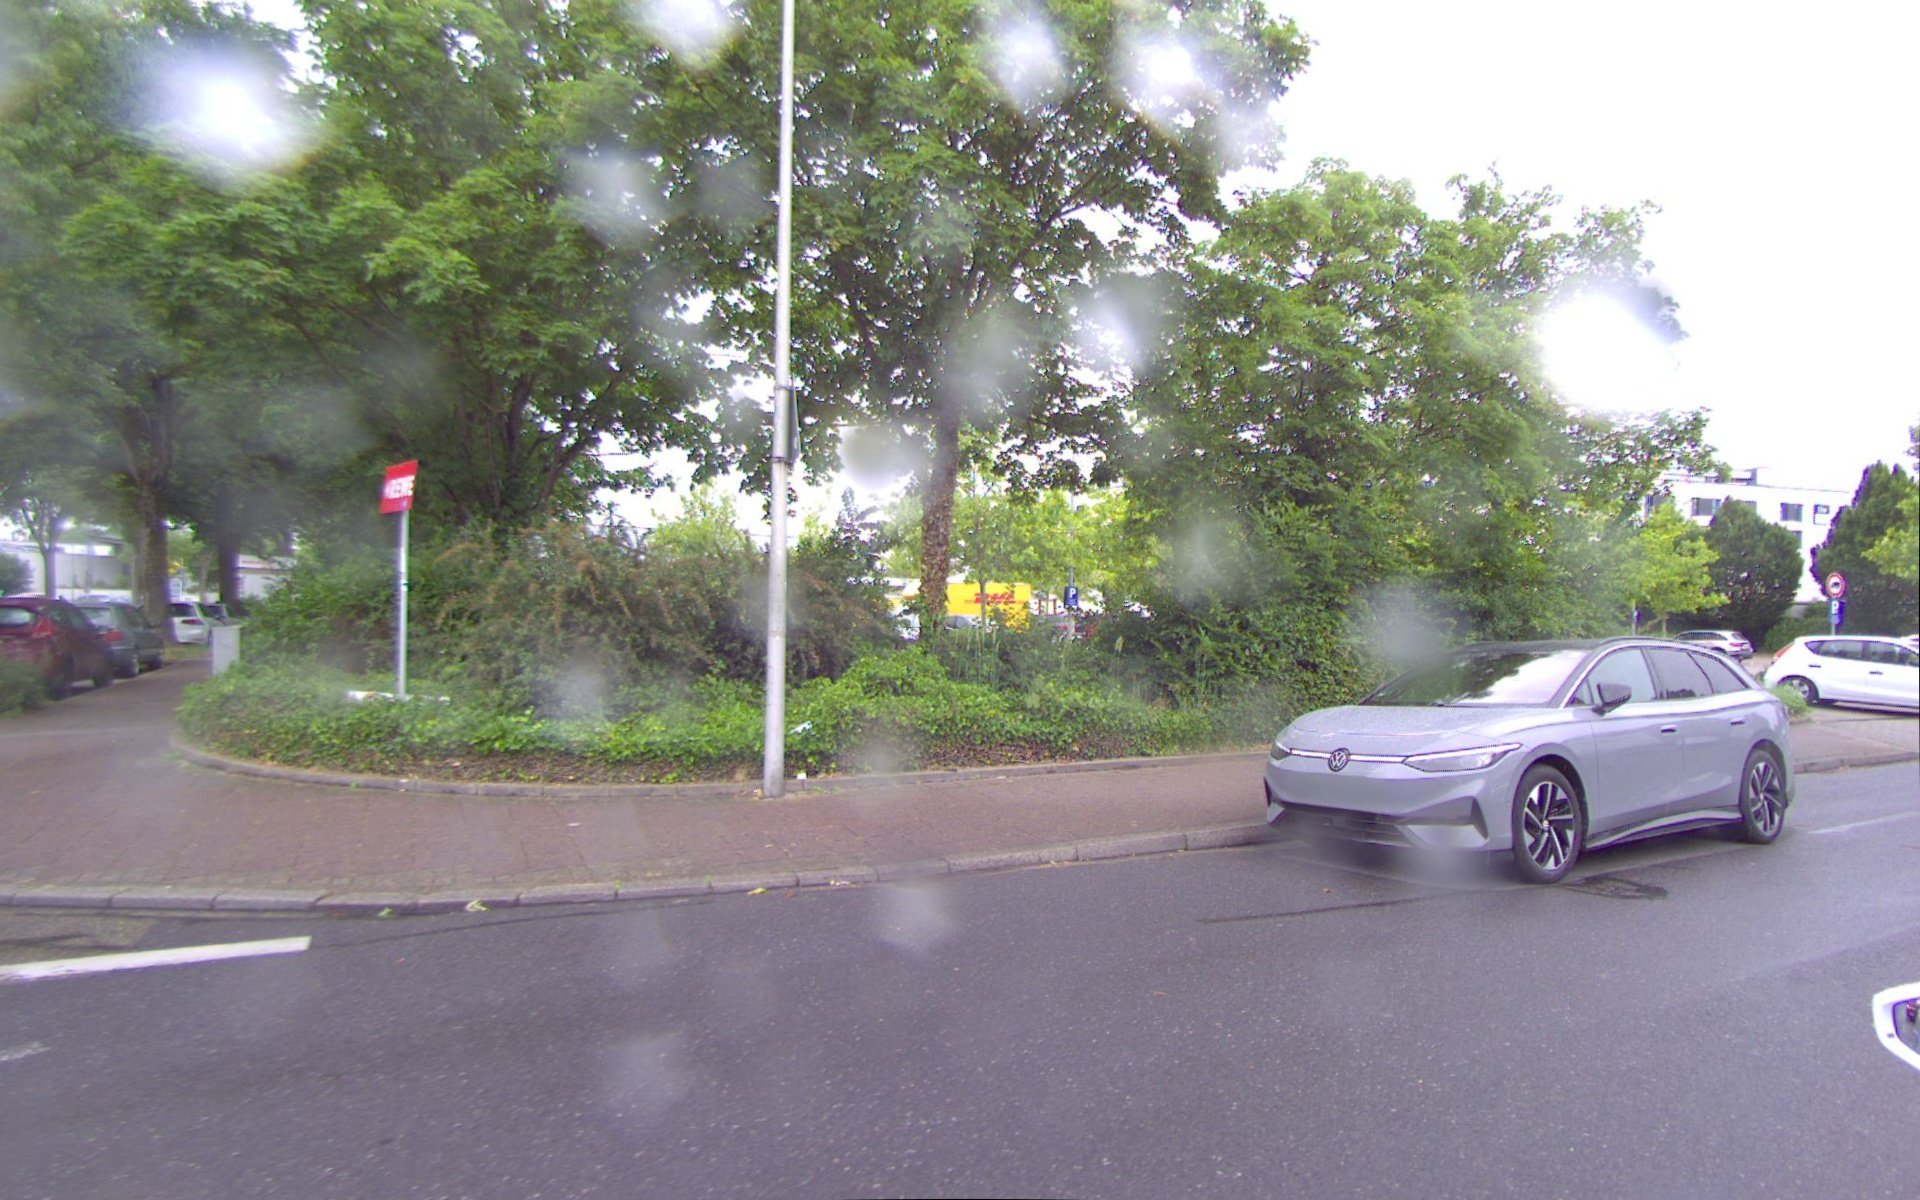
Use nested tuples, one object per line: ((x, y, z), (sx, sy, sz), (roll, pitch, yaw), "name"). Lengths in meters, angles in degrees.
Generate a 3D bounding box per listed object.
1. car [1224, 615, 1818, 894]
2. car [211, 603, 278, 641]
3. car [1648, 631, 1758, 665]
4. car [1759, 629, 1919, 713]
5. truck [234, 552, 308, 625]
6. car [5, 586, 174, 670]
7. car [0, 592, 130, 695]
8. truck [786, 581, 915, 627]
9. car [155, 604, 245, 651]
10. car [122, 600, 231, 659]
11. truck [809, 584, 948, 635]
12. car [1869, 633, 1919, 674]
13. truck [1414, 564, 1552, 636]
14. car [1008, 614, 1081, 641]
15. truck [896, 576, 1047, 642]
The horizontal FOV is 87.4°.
((4.365, 0.996, 7.613), (4.693, 1.548, 1.801), (2, -5, -31), "car")
((-27.843, 0.859, 39.191), (1.716, 1.401, 4.065), (1, -2, -30), "car")
((36.787, 2.344, 49.829), (1.975, 1.519, 3.972), (2, -1, -27), "car")
((18.587, 1.399, 19.748), (1.693, 1.479, 4.167), (2, 0, -32), "car")
((-35.643, -0.518, 52.183), (2.573, 3.515, 6.760), (2, -1, -30), "truck")
((-16.851, 0.542, 19.655), (1.716, 1.460, 3.969), (1, -2, -30), "car")
((-14.036, 0.614, 15.086), (1.716, 1.381, 3.969), (1, -2, -30), "car")
((-5.332, 0.255, 49.515), (6.067, 2.087, 1.983), (2, -1, -32), "truck")
((-23.937, 0.871, 31.771), (1.716, 1.401, 4.065), (1, -2, -30), "car")
((-21.006, 0.793, 27.085), (1.716, 1.460, 3.969), (1, -2, -30), "car")
((-3.626, 0.468, 45.446), (6.067, 2.122, 1.983), (2, -1, -32), "truck")
((37.783, 2.090, 38.488), (1.887, 1.561, 3.971), (2, -1, -28), "car")
((21.507, 0.064, 41.210), (6.323, 2.692, 1.984), (2, -1, -31), "truck")
((4.306, 1.403, 51.813), (1.834, 1.352, 3.968), (2, -1, -30), "car")
((0.531, 0.452, 43.181), (6.317, 2.636, 1.985), (2, -1, -29), "truck")
